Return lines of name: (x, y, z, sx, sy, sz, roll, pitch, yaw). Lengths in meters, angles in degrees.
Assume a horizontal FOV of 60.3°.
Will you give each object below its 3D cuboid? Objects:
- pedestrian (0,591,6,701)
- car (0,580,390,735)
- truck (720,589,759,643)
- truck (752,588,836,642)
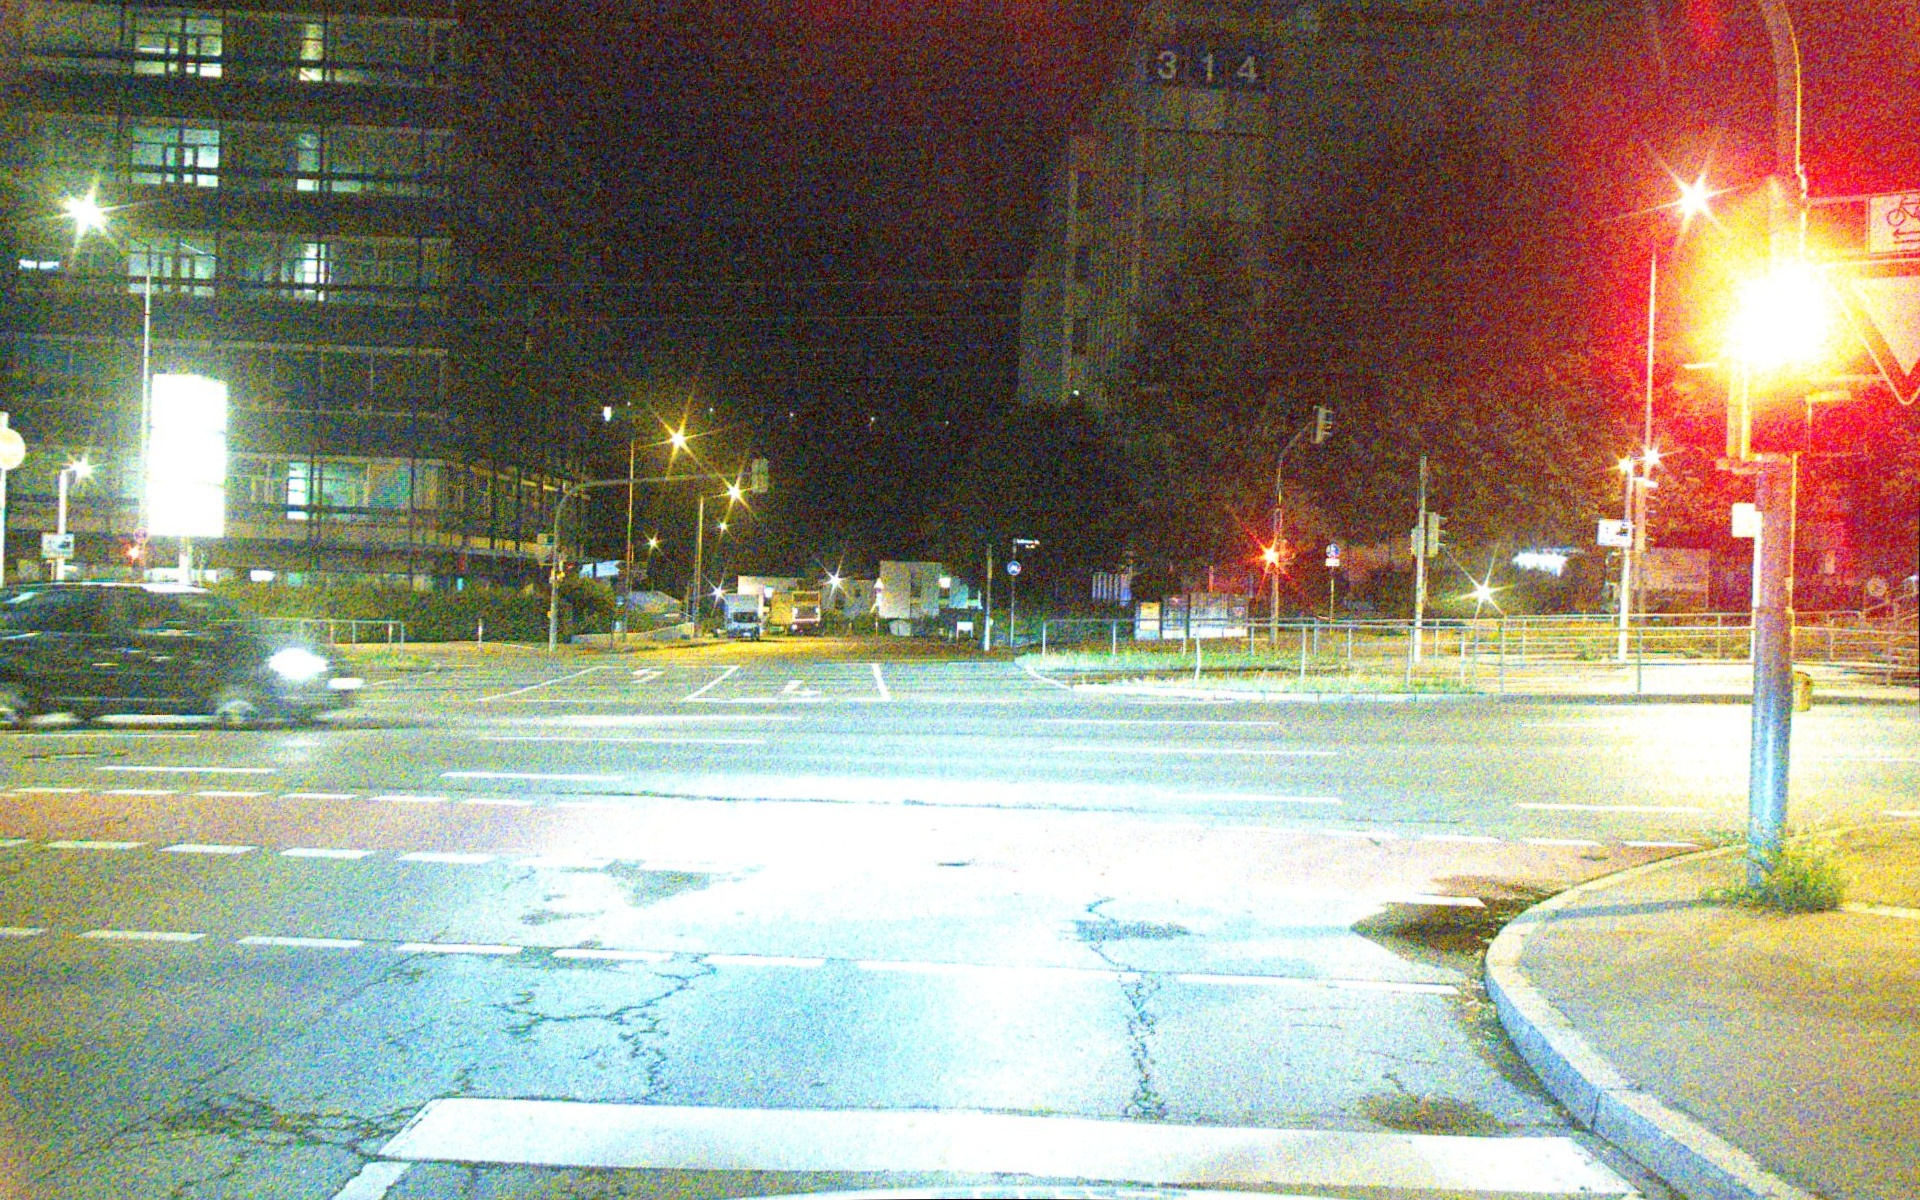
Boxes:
pedestrian: (-14.711, 0.684, 24.503, 0.656, 1.663, 0.862, 1, -1, -5)
car: (-9.018, 0.635, 19.055, 4.252, 1.680, 1.810, 0, 0, 2)
truck: (-15.835, 1.127, 118.762, 2.535, 3.772, 5.724, 1, 0, -9)
truck: (-15.285, 1.294, 150.977, 4.751, 4.627, 12.593, 1, 0, -19)
